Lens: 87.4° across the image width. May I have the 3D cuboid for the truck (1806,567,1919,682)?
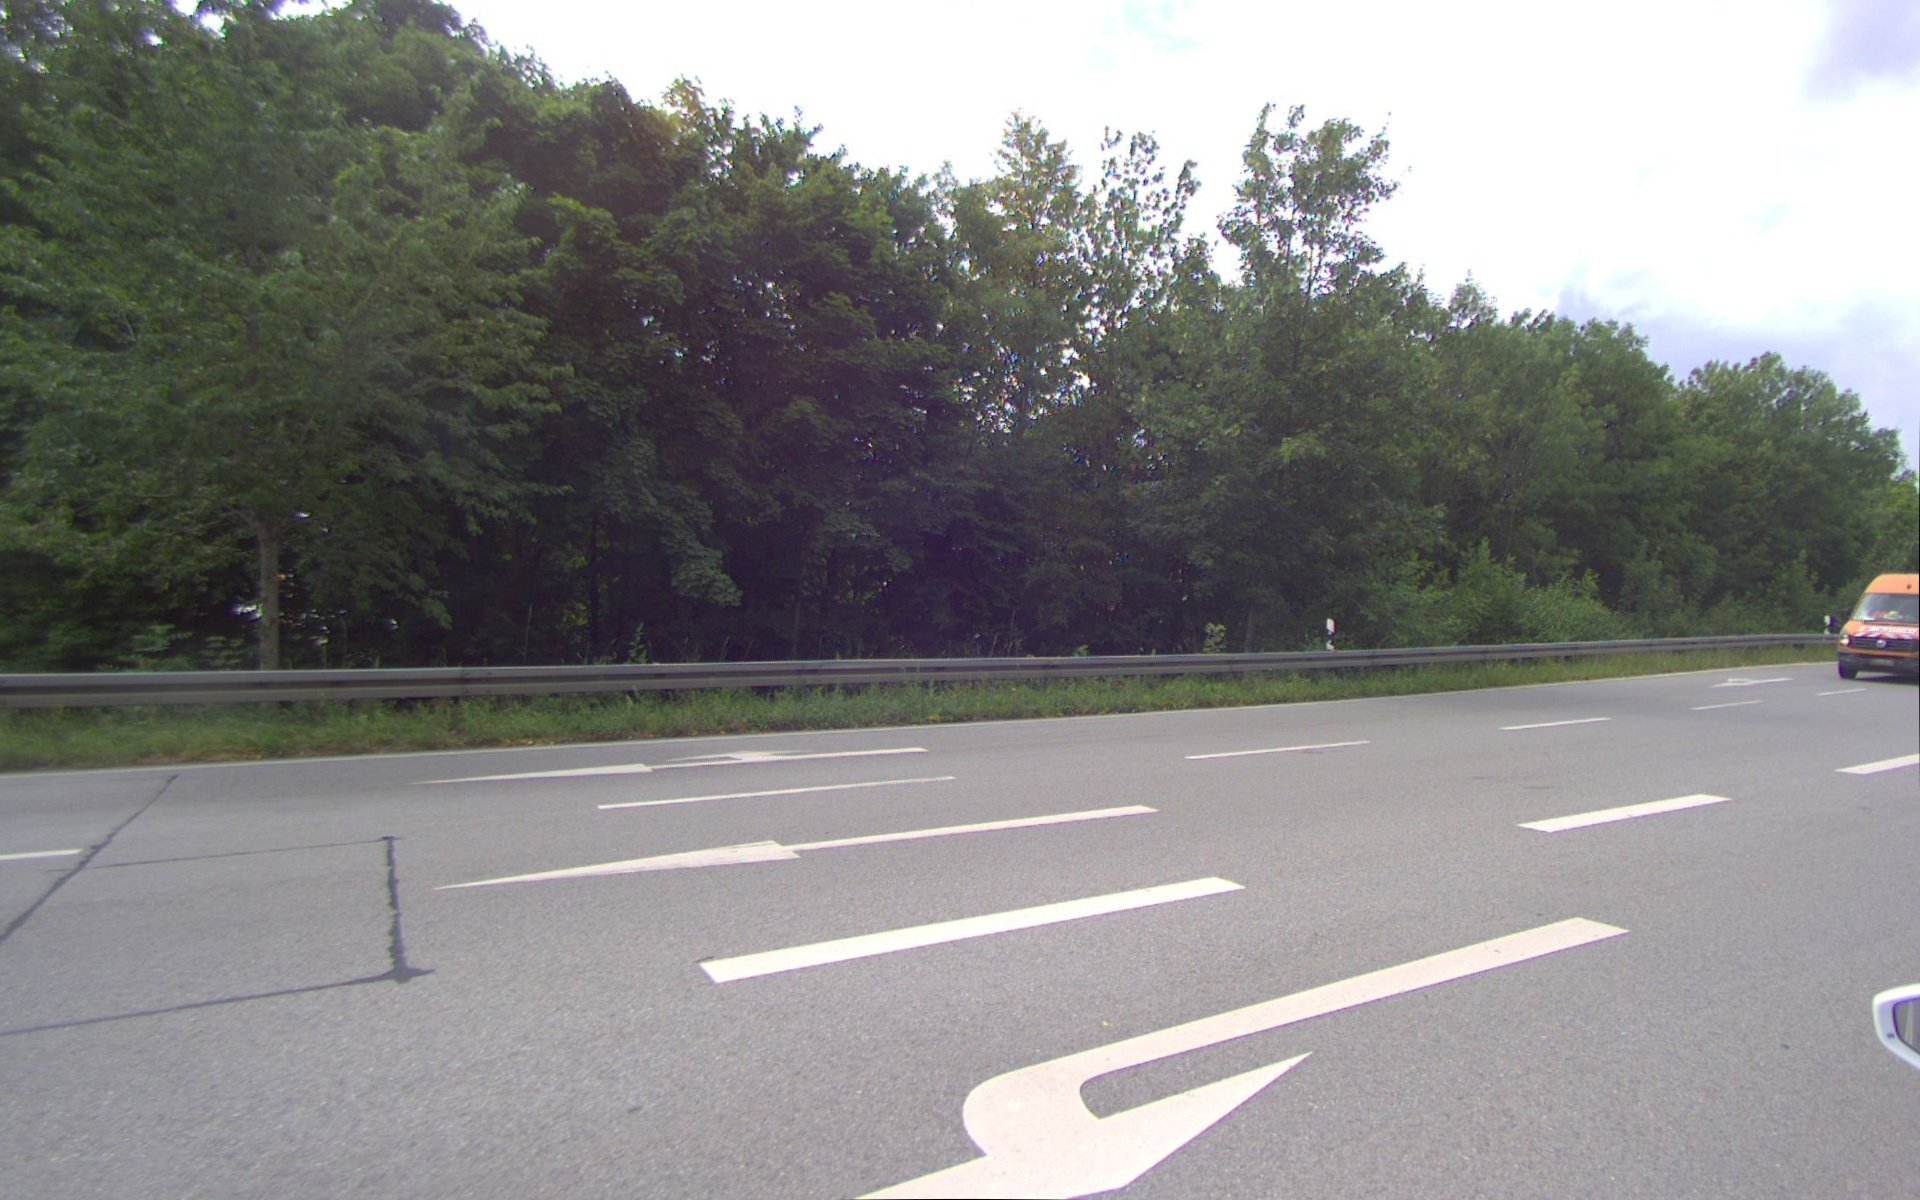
[{"bbox_3d":[23.993,0.582,25.366,5.956,2.636,2.303,1,1,-32],"label":"truck"}]
